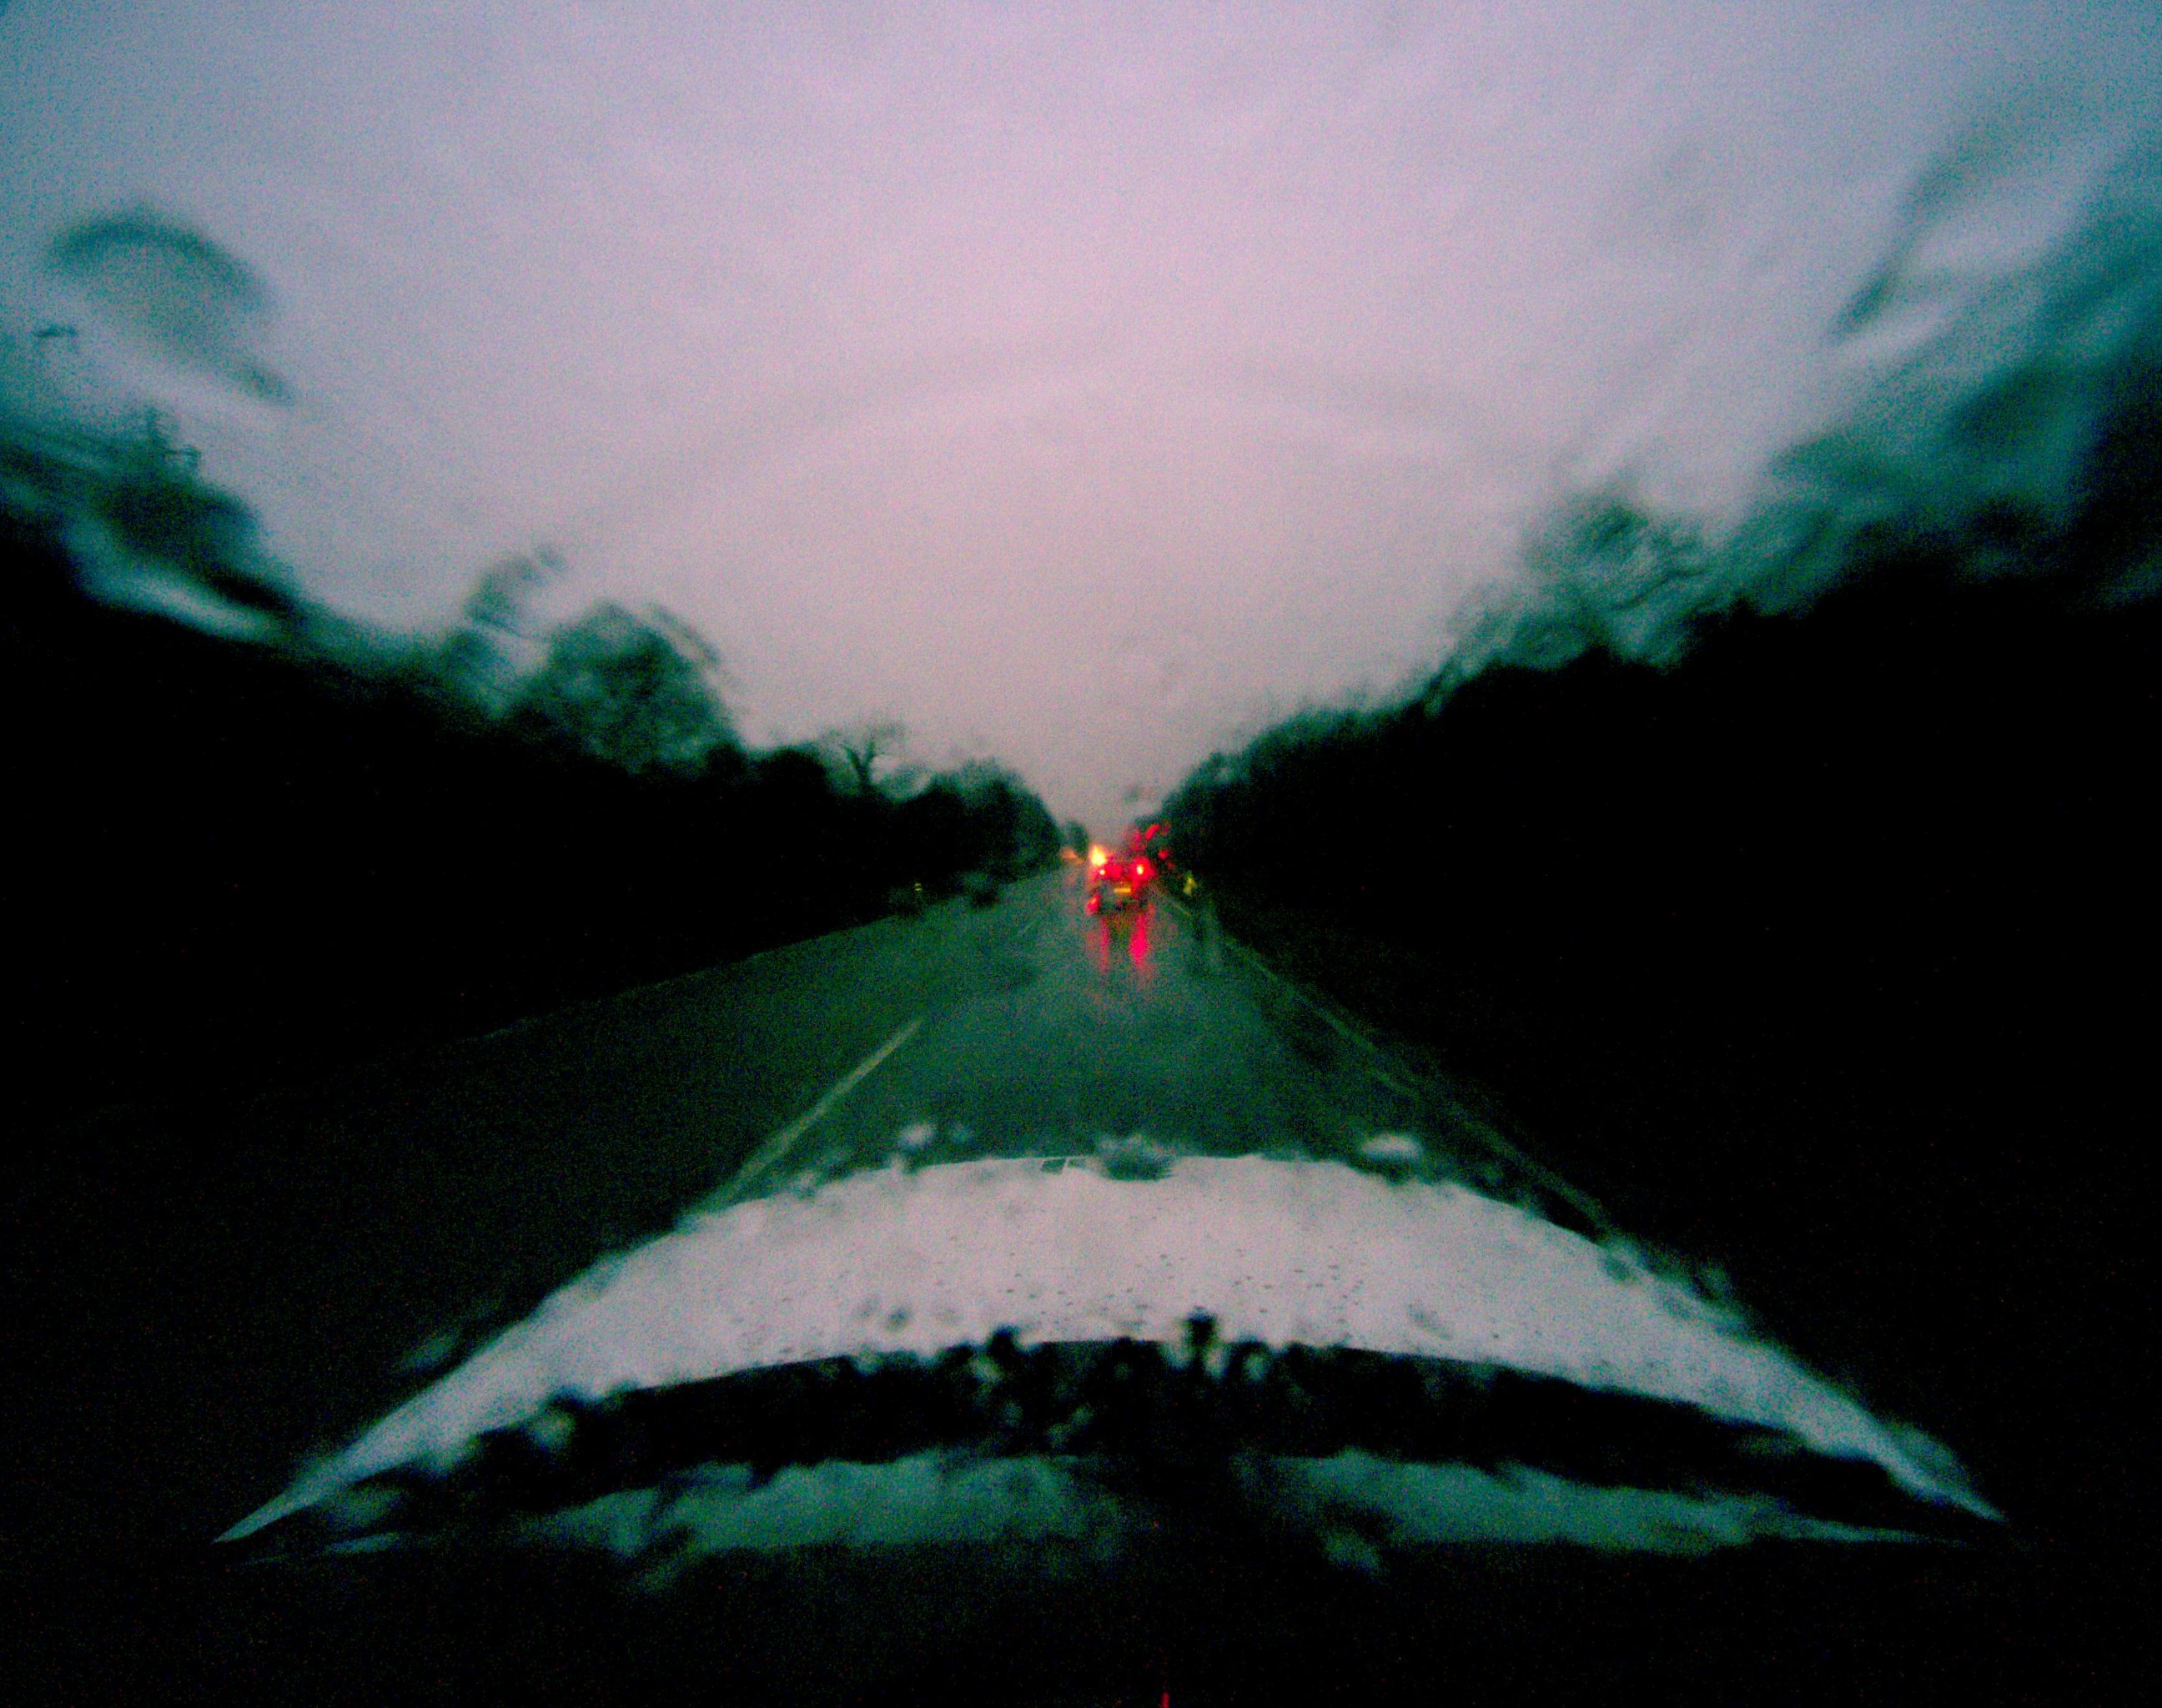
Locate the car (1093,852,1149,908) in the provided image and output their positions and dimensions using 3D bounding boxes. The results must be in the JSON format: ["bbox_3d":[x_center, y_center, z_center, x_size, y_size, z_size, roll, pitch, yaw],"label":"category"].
[{"bbox_3d":[1.259,0.786,26.312,1.642,1.672,3.515,-1,0,2],"label":"car"}]

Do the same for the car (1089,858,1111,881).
[{"bbox_3d":[1.608,1.239,67.000,1.726,1.779,4.001,-1,0,1],"label":"car"}]
